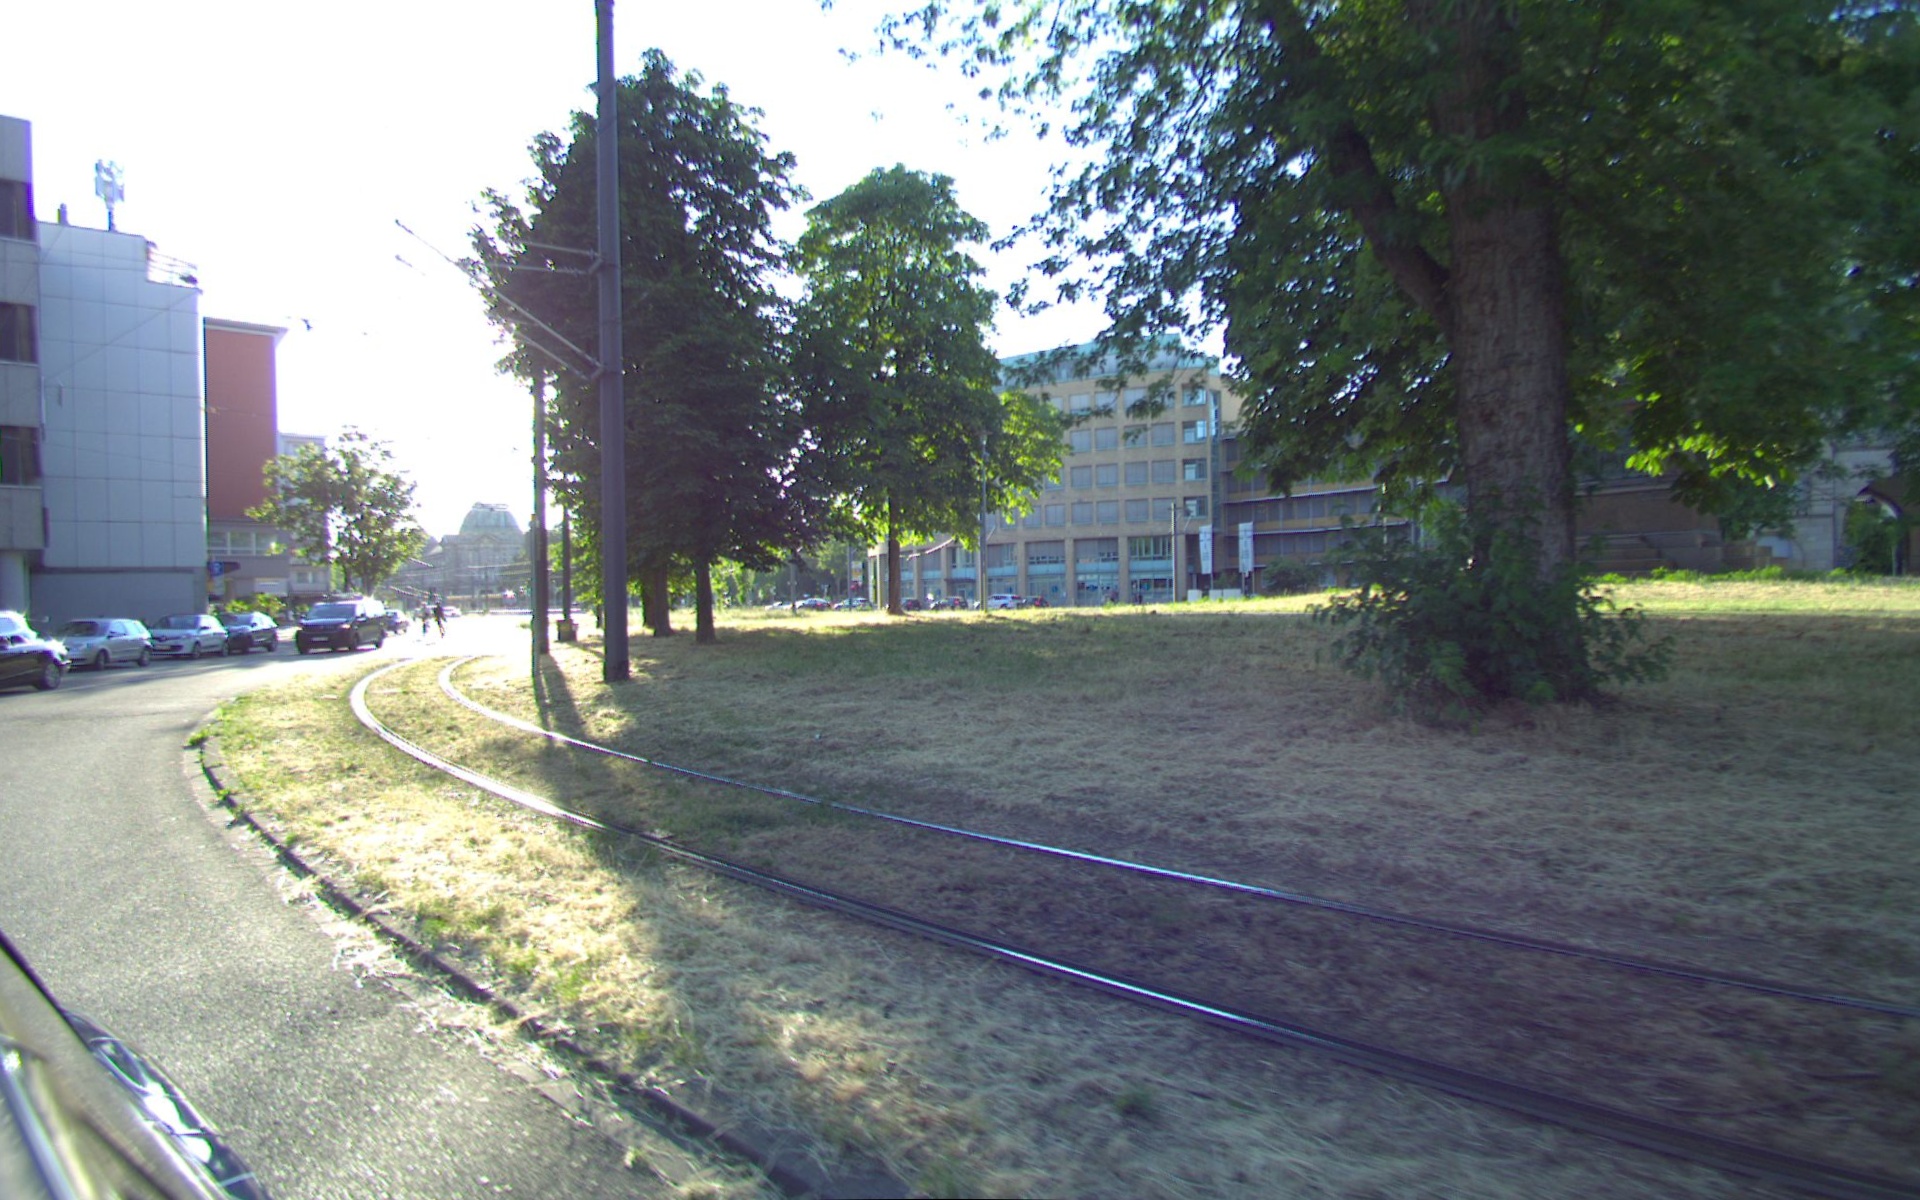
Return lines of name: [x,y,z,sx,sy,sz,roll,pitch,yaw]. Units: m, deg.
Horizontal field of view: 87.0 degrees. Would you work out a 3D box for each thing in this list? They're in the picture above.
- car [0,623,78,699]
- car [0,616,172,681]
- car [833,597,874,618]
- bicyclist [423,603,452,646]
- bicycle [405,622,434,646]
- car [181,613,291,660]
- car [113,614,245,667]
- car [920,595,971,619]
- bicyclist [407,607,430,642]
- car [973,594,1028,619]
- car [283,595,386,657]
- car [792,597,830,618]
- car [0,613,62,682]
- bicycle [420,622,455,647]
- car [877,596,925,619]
car: [-19.481,1.234,19.405,1.967,1.404,4.535,-2,1,-14]
car: [-25.594,1.347,29.861,1.967,1.617,4.535,-2,1,-14]
car: [-10.593,0.742,100.302,1.970,2.029,4.004,-2,1,-43]
bicyclist: [-24.694,1.150,47.823,0.909,1.989,1.116,-2,0,-13]
bicycle: [-28.021,1.748,52.469,0.859,1.105,1.855,-2,0,-13]
car: [-28.713,1.413,40.328,1.967,1.617,4.535,-2,1,-14]
car: [-27.430,1.367,35.749,1.967,1.617,4.535,-2,1,-14]
car: [-1.288,0.619,89.647,1.970,2.029,4.553,-2,1,-42]
bicyclist: [-28.011,1.270,52.364,0.847,1.796,0.988,-1,0,-14]
car: [3.350,0.557,84.996,1.970,2.029,4.553,-2,1,-42]
car: [-23.701,0.922,38.549,1.967,2.172,4.535,-2,1,-14]
car: [-15.614,0.804,106.172,1.970,2.029,4.004,-2,1,-43]
car: [-24.138,1.197,24.269,1.967,1.617,4.535,-2,1,-14]
bicycle: [-24.680,1.617,47.843,0.920,1.084,2.227,-2,1,-14]
car: [-5.512,0.673,94.421,1.970,2.029,4.553,-2,1,-42]
